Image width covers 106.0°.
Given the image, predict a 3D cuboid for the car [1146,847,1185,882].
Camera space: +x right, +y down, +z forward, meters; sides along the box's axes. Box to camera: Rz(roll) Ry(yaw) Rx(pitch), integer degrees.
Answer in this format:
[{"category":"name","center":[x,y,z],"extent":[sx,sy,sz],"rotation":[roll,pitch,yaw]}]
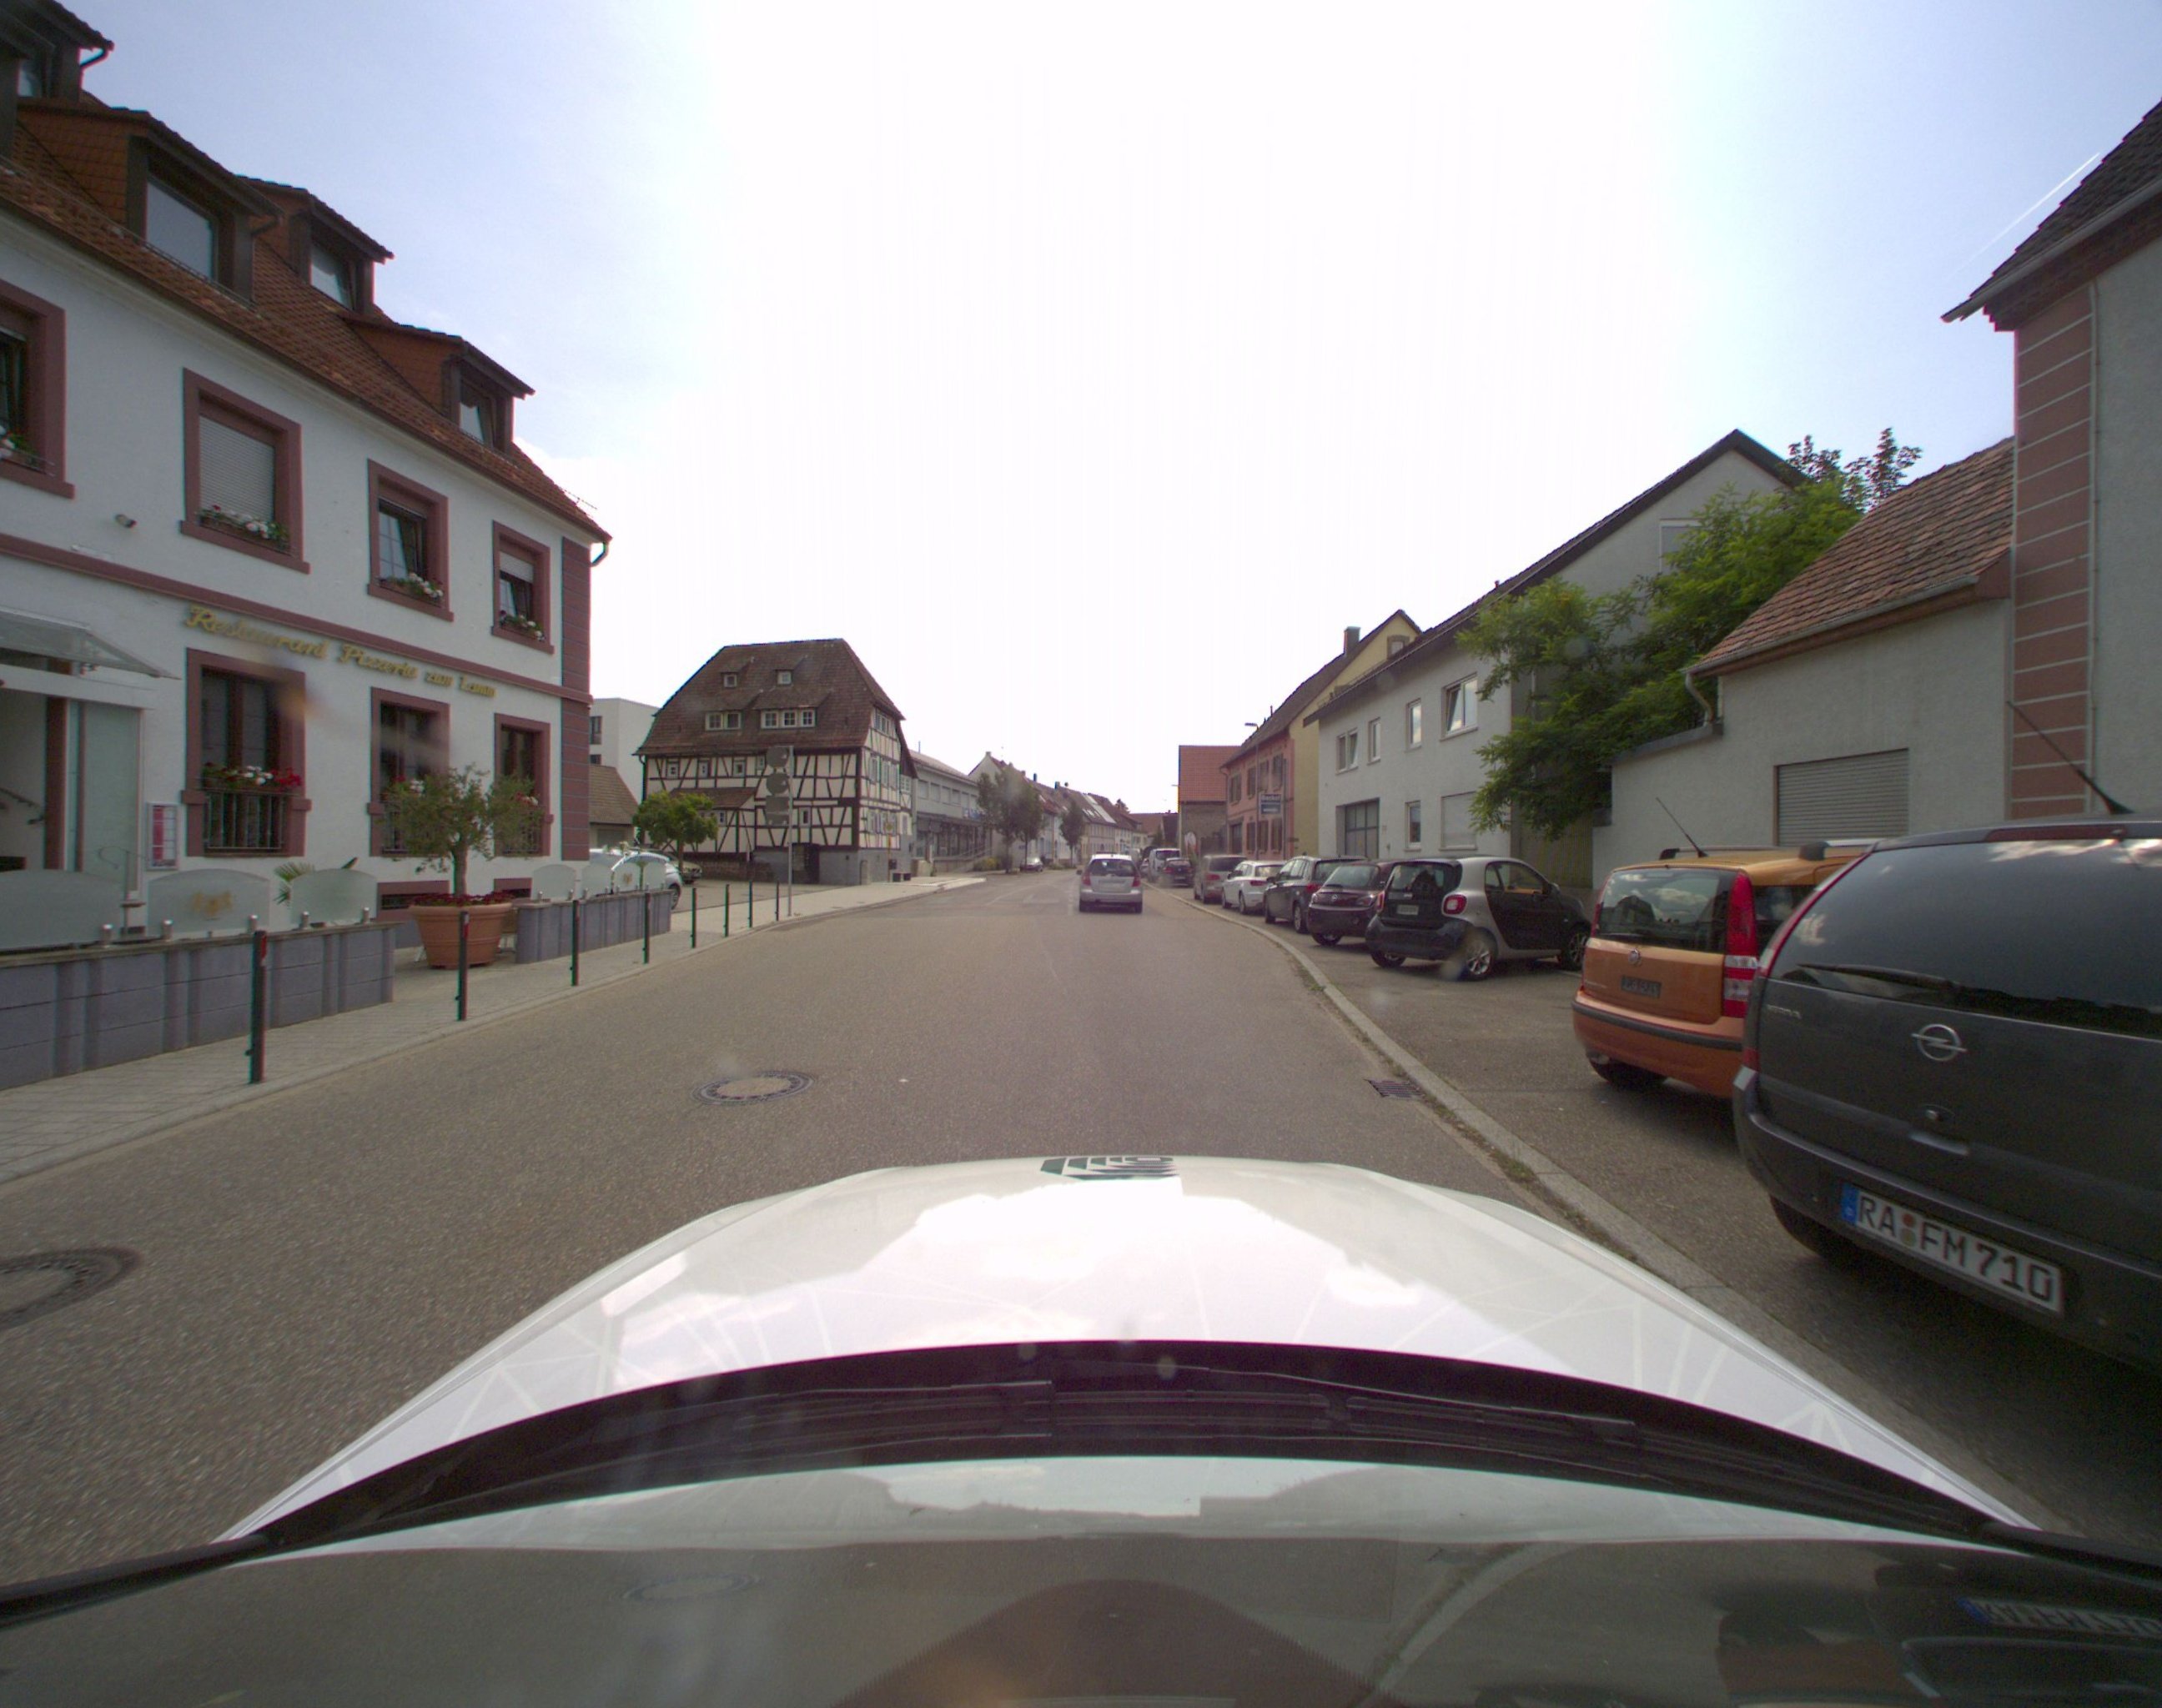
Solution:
[{"category":"car","center":[5.078,0.618,49.464],"extent":[1.885,1.982,4.932],"rotation":[-2,0,2]}]

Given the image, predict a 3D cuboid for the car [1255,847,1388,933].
[{"category":"car","center":[5.053,0.694,17.704],"extent":[1.657,1.624,4.271],"rotation":[0,0,0]}]

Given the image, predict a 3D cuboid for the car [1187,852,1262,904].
[{"category":"car","center":[4.926,0.783,28.499],"extent":[1.986,1.680,4.324],"rotation":[0,0,2]}]

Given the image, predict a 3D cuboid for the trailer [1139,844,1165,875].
[{"category":"trailer","center":[5.581,0.432,64.582],"extent":[1.838,2.354,3.590],"rotation":[0,0,1]}]

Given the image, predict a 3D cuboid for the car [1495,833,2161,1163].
[{"category":"car","center":[4.648,0.704,5.064],"extent":[3.377,1.577,1.720],"rotation":[1,-1,-11]}]

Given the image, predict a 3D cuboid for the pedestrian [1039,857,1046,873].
[{"category":"pedestrian","center":[-4.236,1.246,90.101],"extent":[0.736,1.801,0.643],"rotation":[-1,-1,3]}]

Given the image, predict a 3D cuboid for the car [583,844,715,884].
[{"category":"car","center":[-17.873,0.389,33.839],"extent":[4.405,1.389,1.967],"rotation":[3,0,5]}]

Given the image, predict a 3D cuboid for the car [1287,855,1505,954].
[{"category":"car","center":[5.386,0.775,13.953],"extent":[3.244,1.505,1.810],"rotation":[0,0,-28]}]

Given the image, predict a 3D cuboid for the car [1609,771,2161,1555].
[{"category":"car","center":[4.055,0.578,2.387],"extent":[3.839,1.577,1.849],"rotation":[-1,0,-3]}]

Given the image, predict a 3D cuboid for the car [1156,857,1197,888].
[{"category":"car","center":[4.853,0.915,41.842],"extent":[1.768,1.495,4.163],"rotation":[0,0,2]}]

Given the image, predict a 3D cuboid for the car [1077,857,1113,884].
[{"category":"car","center":[0.812,0.880,45.833],"extent":[1.938,1.407,4.001],"rotation":[0,0,1]}]

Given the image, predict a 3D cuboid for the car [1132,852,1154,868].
[{"category":"car","center":[6.344,0.618,83.762],"extent":[1.986,1.559,4.001],"rotation":[-1,0,1]}]

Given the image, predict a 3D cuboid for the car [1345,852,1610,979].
[{"category":"car","center":[5.326,0.733,11.043],"extent":[2.790,1.505,1.864],"rotation":[0,0,-22]}]

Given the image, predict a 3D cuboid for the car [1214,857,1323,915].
[{"category":"car","center":[5.222,0.840,23.303],"extent":[1.989,1.517,4.367],"rotation":[0,0,-2]}]

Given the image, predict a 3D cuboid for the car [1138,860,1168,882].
[{"category":"car","center":[5.190,1.169,59.157],"extent":[1.868,1.481,4.676],"rotation":[1,0,2]}]

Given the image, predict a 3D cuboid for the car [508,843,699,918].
[{"category":"car","center":[-11.276,0.573,19.640],"extent":[1.750,1.492,4.280],"rotation":[4,0,4]}]

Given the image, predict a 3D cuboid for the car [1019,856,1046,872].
[{"category":"car","center":[-4.557,0.897,77.507],"extent":[1.794,1.460,4.167],"rotation":[1,0,8]}]

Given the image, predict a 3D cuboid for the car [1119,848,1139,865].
[{"category":"car","center":[6.219,0.340,104.868],"extent":[2.224,2.222,4.007],"rotation":[-1,-1,6]}]

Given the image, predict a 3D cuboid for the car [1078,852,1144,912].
[{"category":"car","center":[0.885,0.767,23.850],"extent":[1.762,1.595,4.002],"rotation":[1,-1,2]}]
